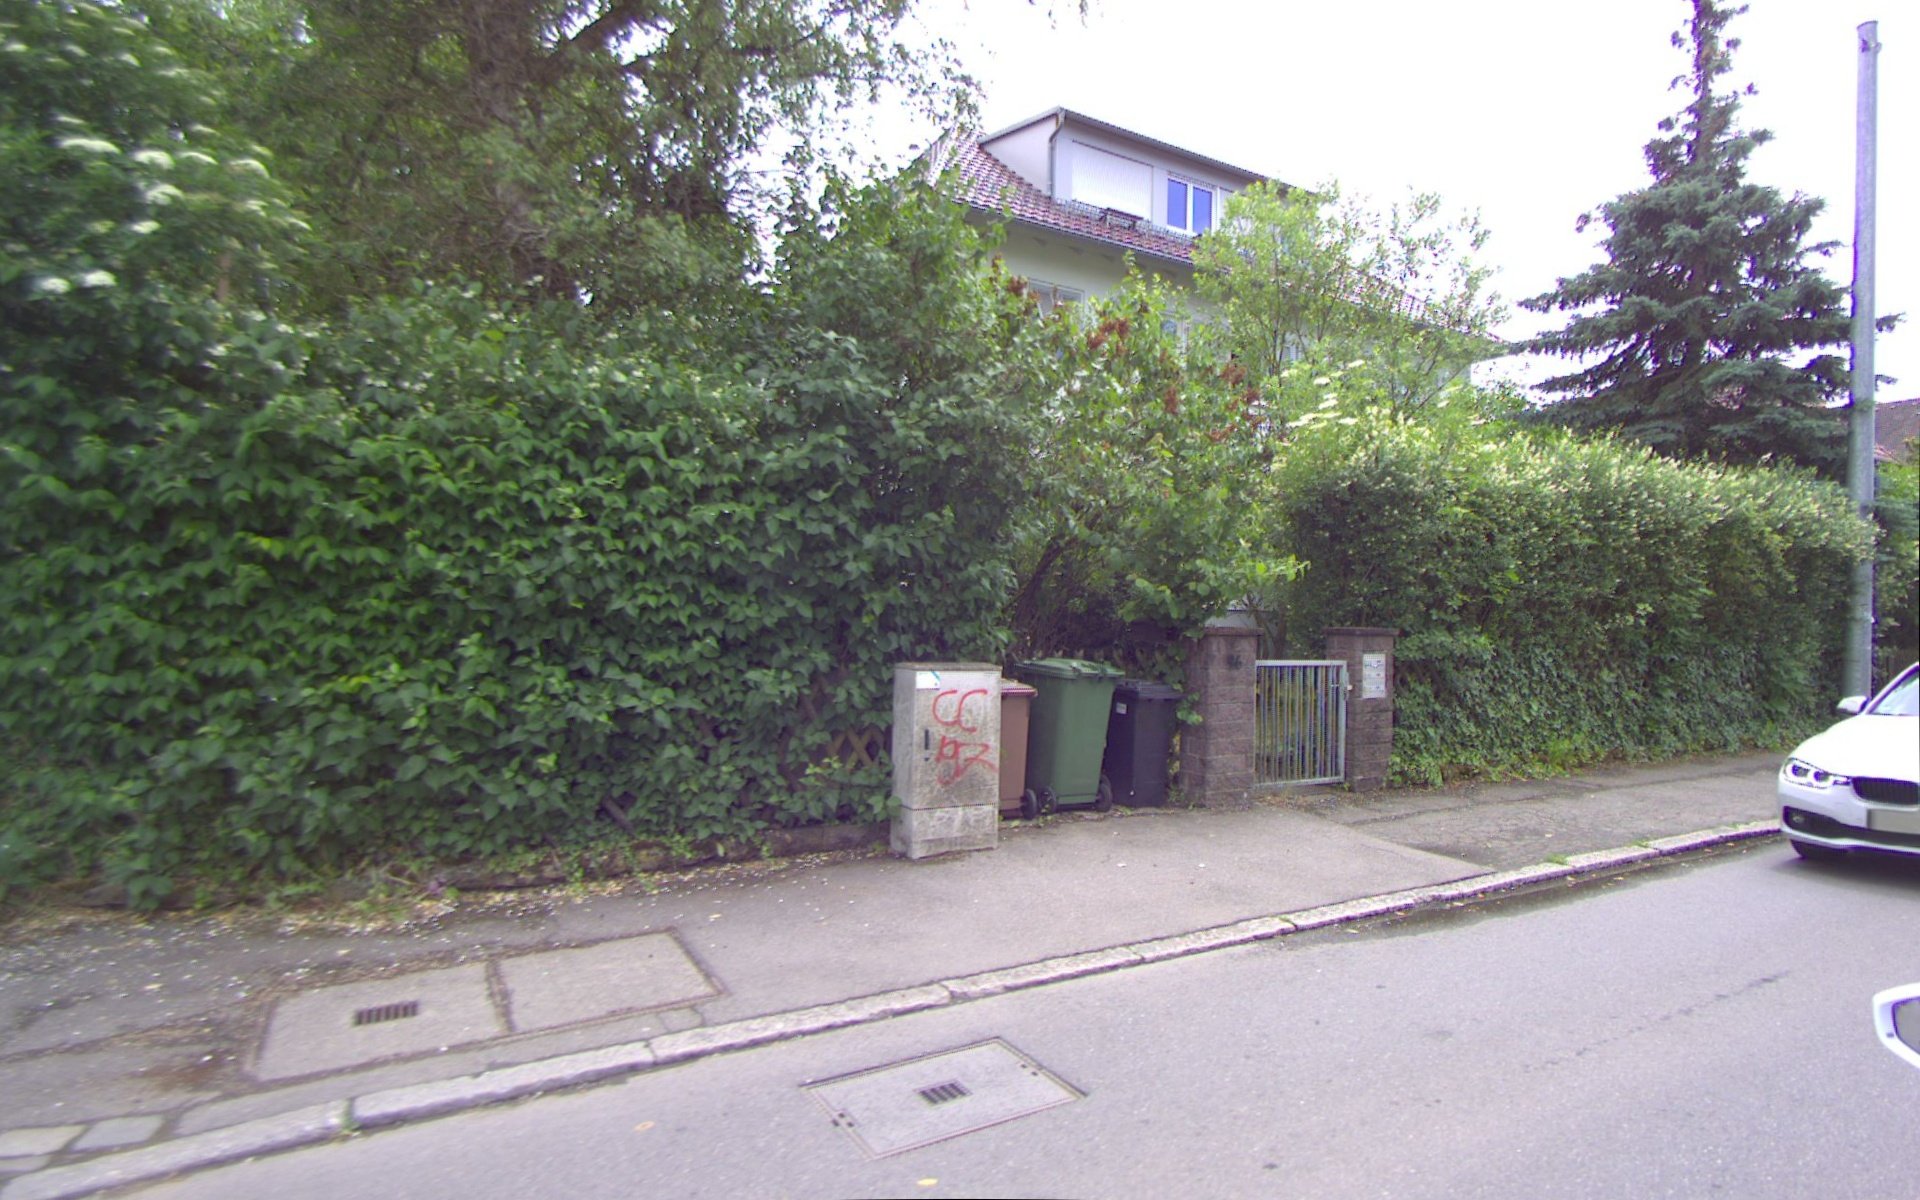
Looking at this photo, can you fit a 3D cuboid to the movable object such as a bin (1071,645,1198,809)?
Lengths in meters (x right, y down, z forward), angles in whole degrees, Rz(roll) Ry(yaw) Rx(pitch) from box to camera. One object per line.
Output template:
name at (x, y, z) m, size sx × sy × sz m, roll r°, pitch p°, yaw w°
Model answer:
movable object such as a bin at (1.334, 0.943, 7.739) m, size 0.579 × 1.132 × 0.723 m, roll 2°, pitch 2°, yaw -33°

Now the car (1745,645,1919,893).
car at (7.463, 1.047, 6.969) m, size 4.253 × 1.450 × 1.796 m, roll 2°, pitch -4°, yaw -32°

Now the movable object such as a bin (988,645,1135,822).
movable object such as a bin at (0.730, 0.927, 7.308) m, size 0.715 × 1.141 × 0.723 m, roll 2°, pitch 2°, yaw -33°

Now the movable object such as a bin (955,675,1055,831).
movable object such as a bin at (0.304, 1.010, 6.788) m, size 0.507 × 0.964 × 0.376 m, roll 2°, pitch 2°, yaw -33°
